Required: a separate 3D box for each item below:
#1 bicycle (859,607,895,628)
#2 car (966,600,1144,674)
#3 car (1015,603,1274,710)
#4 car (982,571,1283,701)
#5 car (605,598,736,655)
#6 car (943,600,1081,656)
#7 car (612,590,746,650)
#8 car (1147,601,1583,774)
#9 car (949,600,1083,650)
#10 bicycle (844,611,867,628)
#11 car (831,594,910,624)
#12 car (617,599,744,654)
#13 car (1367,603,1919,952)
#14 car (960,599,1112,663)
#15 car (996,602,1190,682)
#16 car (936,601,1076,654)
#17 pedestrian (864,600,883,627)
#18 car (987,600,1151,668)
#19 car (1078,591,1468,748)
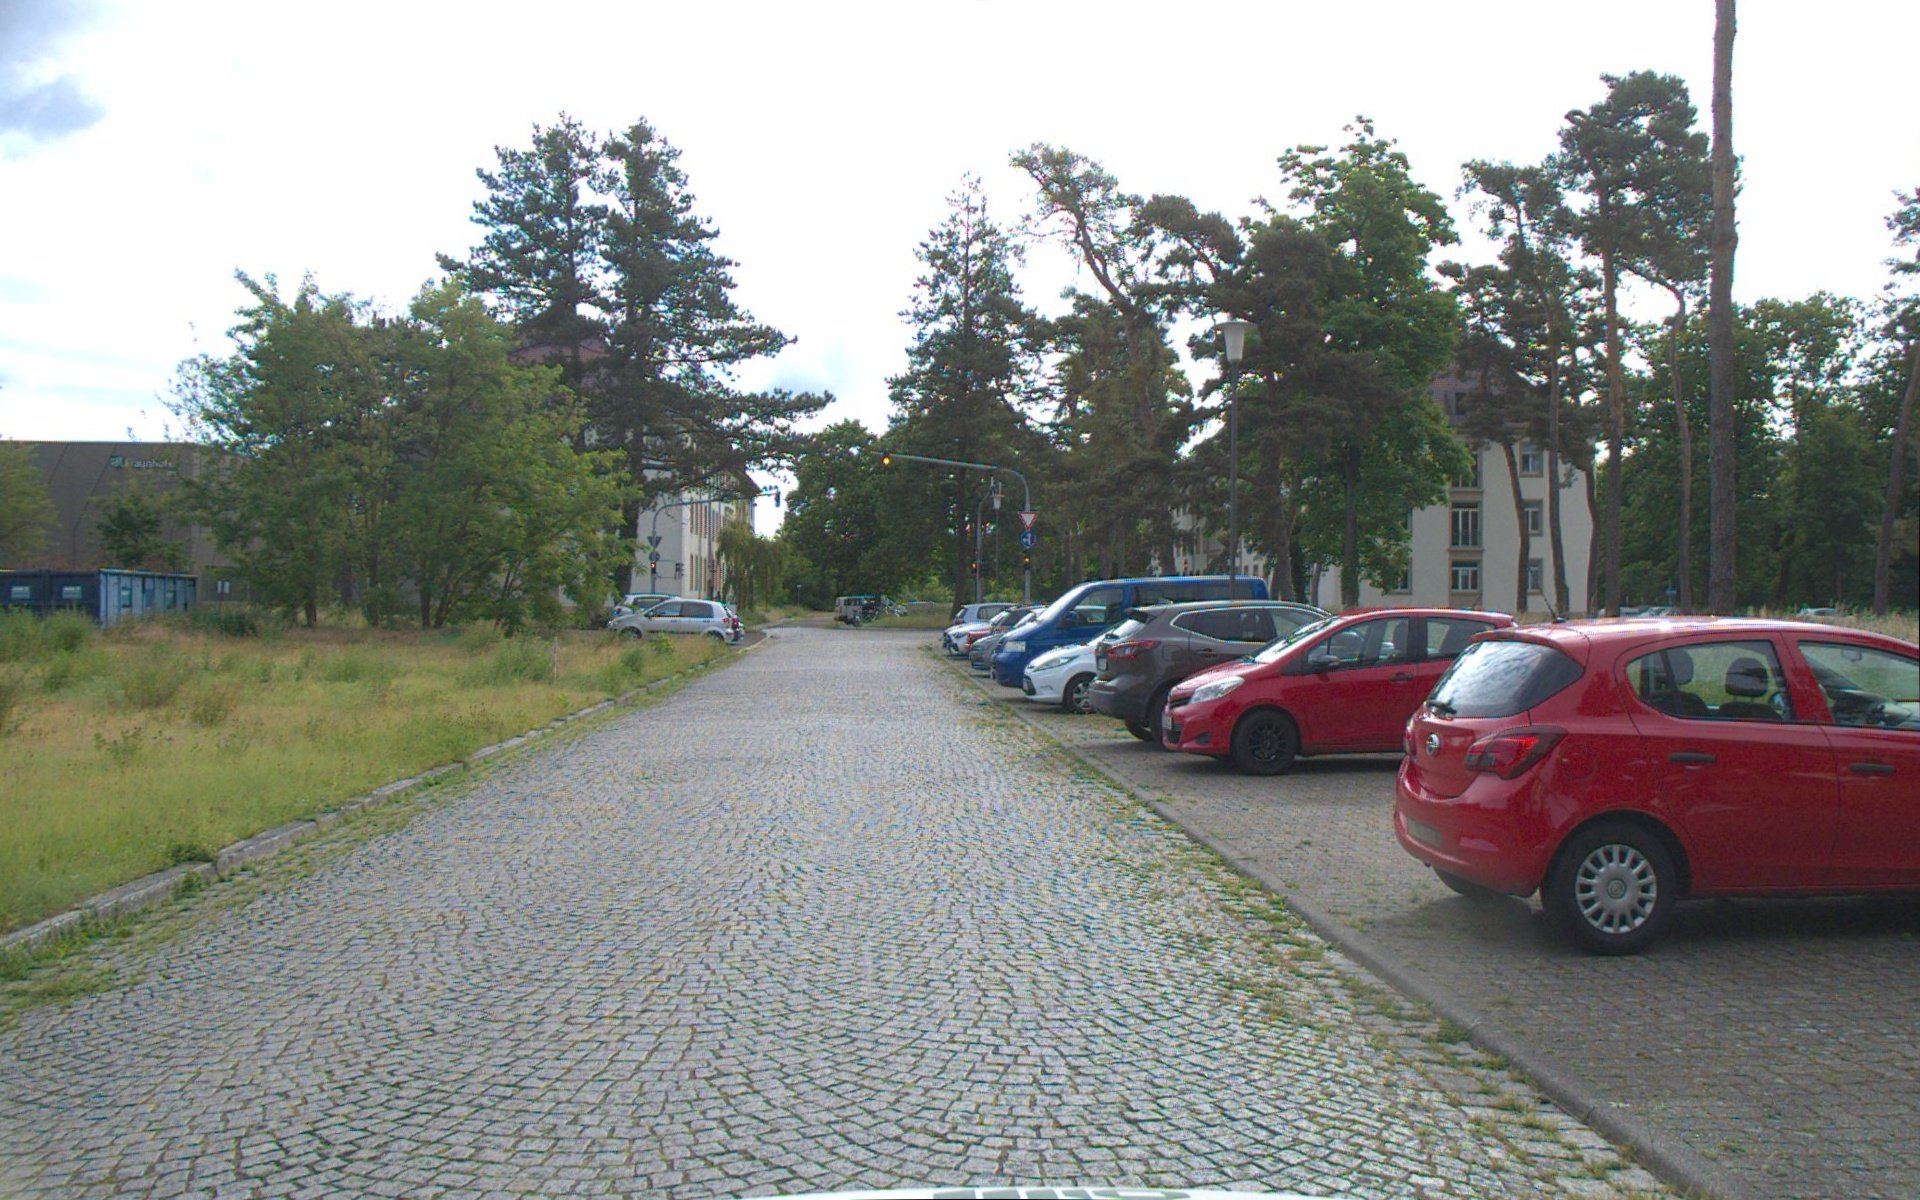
[{"bbox_3d":[-5.023,1.038,99.788,2.097,1.236,0.621,1,-1,-8],"label":"bicycle"},{"bbox_3d":[2.010,0.785,35.506,3.601,1.475,1.522,-1,0,-6],"label":"car"},{"bbox_3d":[2.731,0.821,24.888,3.601,1.475,1.612,-1,0,-6],"label":"car"},{"bbox_3d":[2.805,0.571,27.492,4.662,1.989,1.929,-1,0,-6],"label":"car"},{"bbox_3d":[-8.619,0.777,49.457,3.749,1.600,1.562,-1,0,-7],"label":"car"},{"bbox_3d":[1.423,0.774,45.714,3.603,1.446,1.521,-1,0,-8],"label":"car"},{"bbox_3d":[-9.265,0.663,54.827,4.178,1.873,1.742,-1,0,-5],"label":"car"},{"bbox_3d":[3.800,0.796,15.920,3.717,1.486,1.750,-1,0,-4],"label":"car"},{"bbox_3d":[1.714,0.776,51.250,3.894,1.446,1.617,-1,0,-8],"label":"car"},{"bbox_3d":[-6.041,1.105,95.641,0.614,0.961,1.645,1,0,-31],"label":"bicycle"},{"bbox_3d":[-6.389,0.656,117.636,5.351,2.049,2.261,1,0,-13],"label":"car"},{"bbox_3d":[-8.733,0.822,51.870,3.746,1.600,1.563,-1,0,-5],"label":"car"},{"bbox_3d":[4.180,0.777,8.344,3.751,1.486,1.777,-1,0,-5],"label":"car"},{"bbox_3d":[1.863,0.760,41.200,3.601,1.475,1.522,-1,0,-6],"label":"car"},{"bbox_3d":[2.602,0.813,32.764,3.601,1.475,1.522,-1,0,-6],"label":"car"},{"bbox_3d":[1.325,0.786,48.568,3.894,1.446,1.617,-1,0,-8],"label":"car"},{"bbox_3d":[-5.238,0.827,100.118,1.014,1.642,0.756,1,-1,-8],"label":"pedestrian"},{"bbox_3d":[2.505,0.778,38.534,3.601,1.475,1.522,-1,0,-6],"label":"car"},{"bbox_3d":[3.434,0.740,18.550,3.951,1.580,1.748,-1,0,-6],"label":"car"}]
